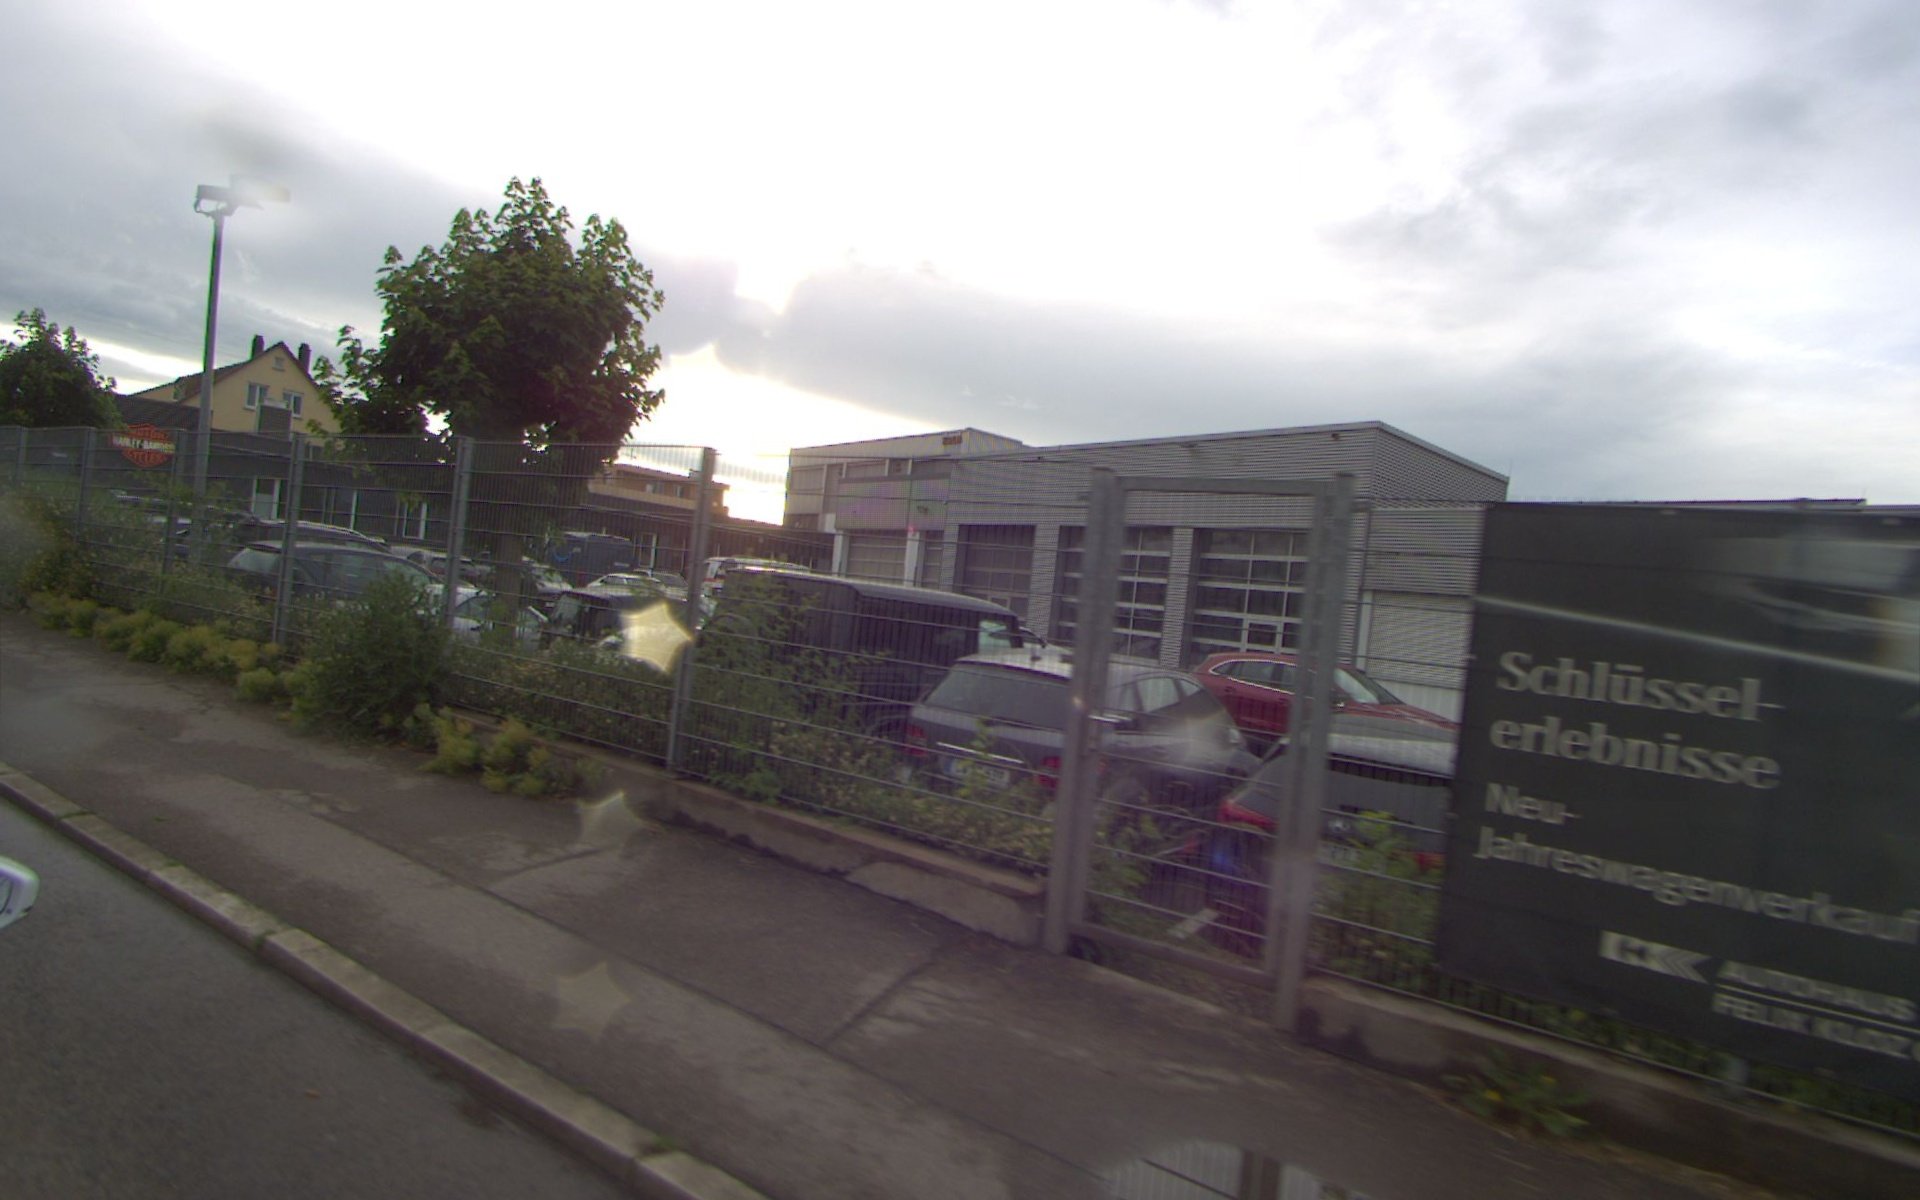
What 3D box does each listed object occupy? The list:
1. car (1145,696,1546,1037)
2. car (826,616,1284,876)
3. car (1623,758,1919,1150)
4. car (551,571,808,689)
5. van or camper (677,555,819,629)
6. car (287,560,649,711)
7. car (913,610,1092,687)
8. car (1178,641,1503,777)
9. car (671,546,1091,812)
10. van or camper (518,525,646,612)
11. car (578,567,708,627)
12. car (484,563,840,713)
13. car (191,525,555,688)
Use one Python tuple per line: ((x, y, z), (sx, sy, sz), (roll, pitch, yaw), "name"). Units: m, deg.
((3.006, 1.558, 7.228), (1.796, 1.451, 3.992), (7, -1, 33), "car")
((1.015, 1.121, 8.109), (1.762, 1.419, 3.991), (5, -4, 37), "car")
((5.136, 1.805, 5.819), (1.968, 1.419, 3.996), (5, -4, 33), "car")
((-4.944, 0.503, 17.584), (4.228, 1.523, 1.788), (5, -3, 32), "car")
((-6.871, -0.313, 32.181), (1.986, 1.959, 5.374), (9, -4, -39), "van or camper")
((-6.319, 0.561, 13.367), (1.653, 1.525, 3.912), (5, -4, 32), "car")
((1.192, 1.295, 26.438), (4.617, 1.415, 1.703), (10, -4, -38), "car")
((5.528, 1.568, 14.951), (1.988, 1.435, 3.955), (10, -4, -42), "car")
((-0.487, 0.803, 9.706), (1.745, 1.914, 4.145), (5, -4, 32), "car")
((-13.922, -1.211, 36.837), (2.324, 2.589, 5.673), (6, 0, -41), "van or camper")
((-10.015, -0.118, 31.622), (4.408, 1.435, 1.889), (4, -5, 43), "car")
((-3.706, 0.572, 13.154), (1.970, 1.424, 3.992), (5, -4, 36), "car")
((-8.285, 0.204, 14.616), (1.590, 1.791, 4.150), (5, -4, 32), "car")
